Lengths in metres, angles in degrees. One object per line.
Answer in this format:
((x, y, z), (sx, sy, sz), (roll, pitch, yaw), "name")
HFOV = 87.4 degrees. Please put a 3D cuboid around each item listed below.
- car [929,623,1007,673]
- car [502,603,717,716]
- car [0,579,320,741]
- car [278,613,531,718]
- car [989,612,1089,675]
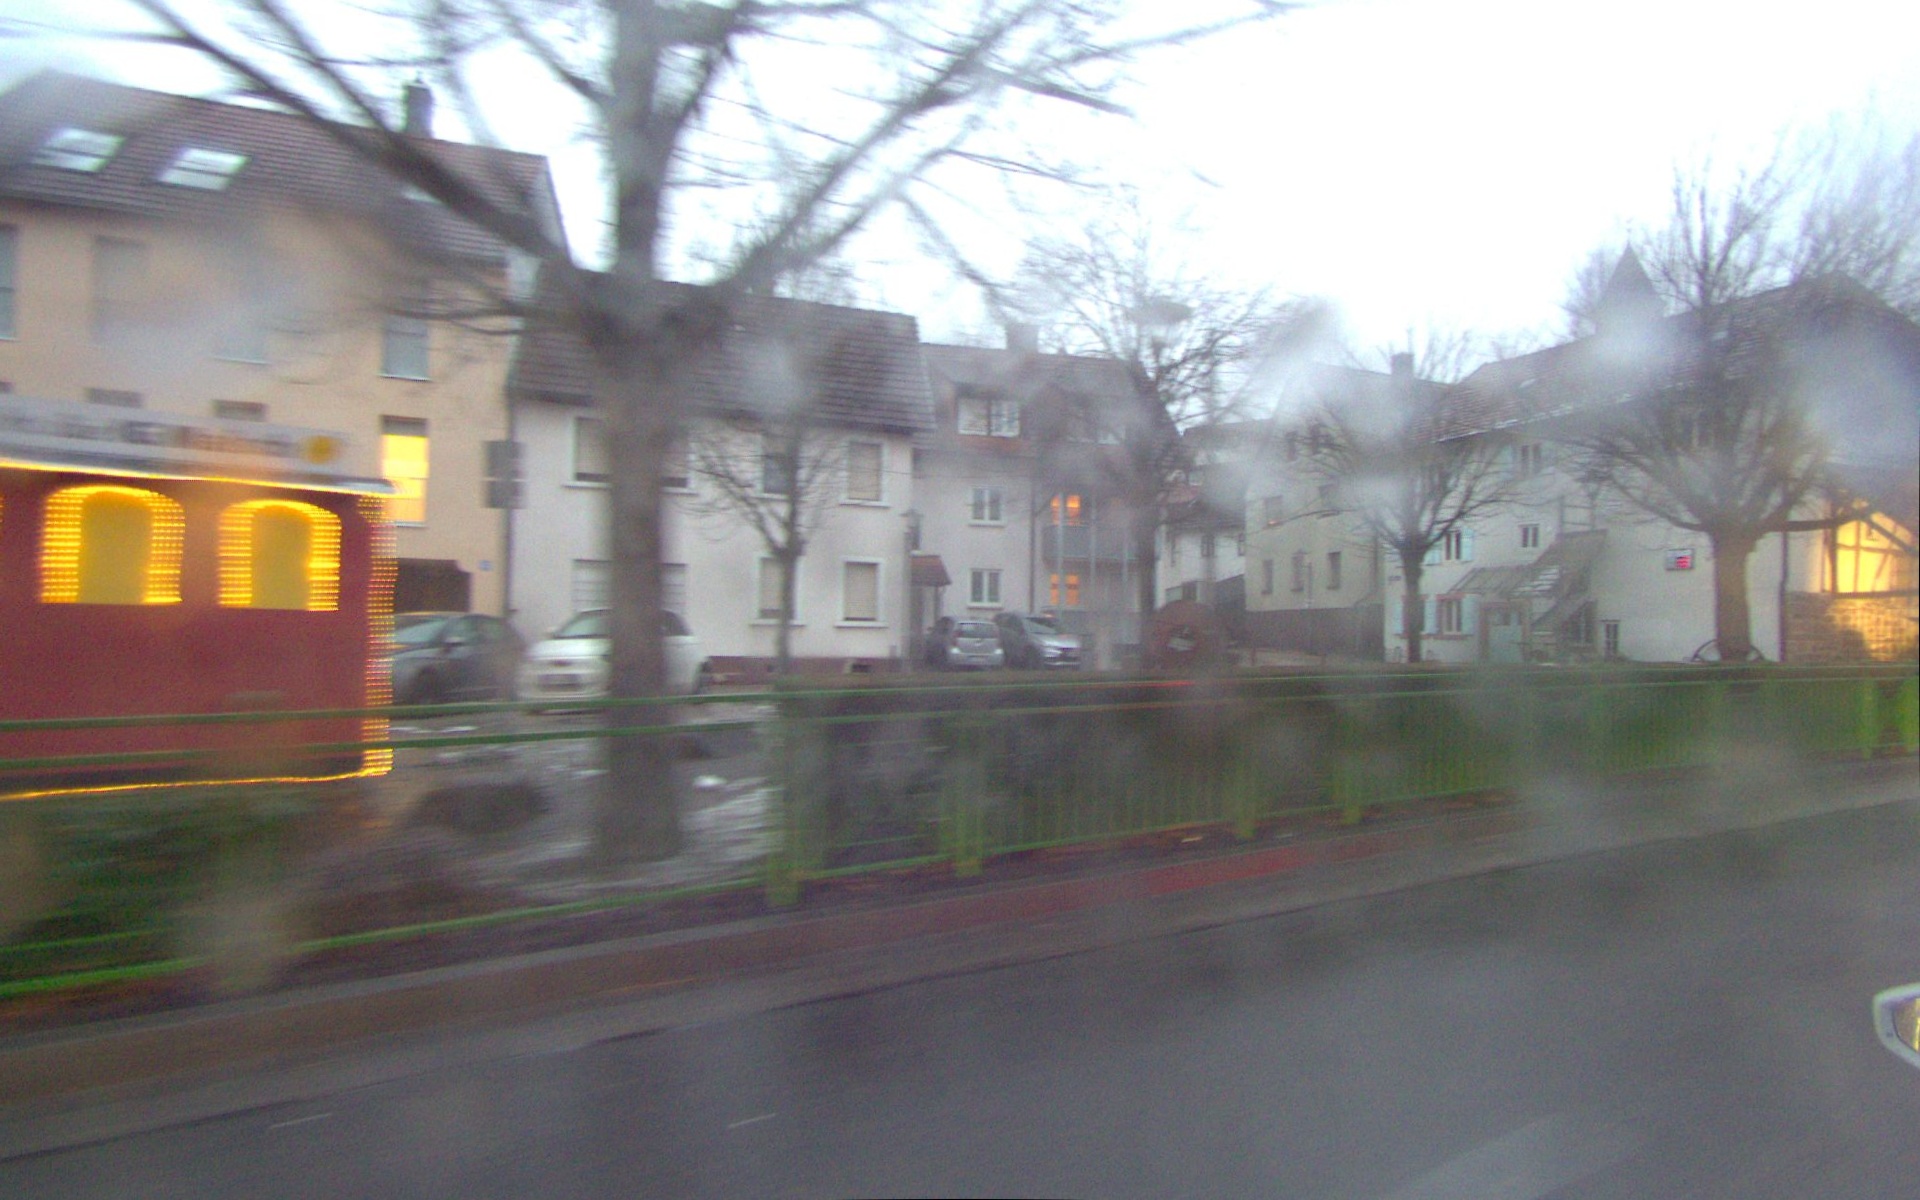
((0.183, 1.360, 29.174), (1.503, 1.142, 3.044), (1, 3, -15), "car")
((-4.951, 0.775, 14.688), (1.578, 1.428, 3.487), (1, 0, 7), "car")
((-9.749, 0.612, 12.054), (1.578, 1.633, 3.637), (1, 0, 5), "car")
((-7.405, 0.808, 13.725), (1.578, 1.236, 3.057), (1, 0, 5), "car")
((2.288, 1.243, 29.992), (1.687, 1.634, 3.594), (1, 1, -19), "car")
